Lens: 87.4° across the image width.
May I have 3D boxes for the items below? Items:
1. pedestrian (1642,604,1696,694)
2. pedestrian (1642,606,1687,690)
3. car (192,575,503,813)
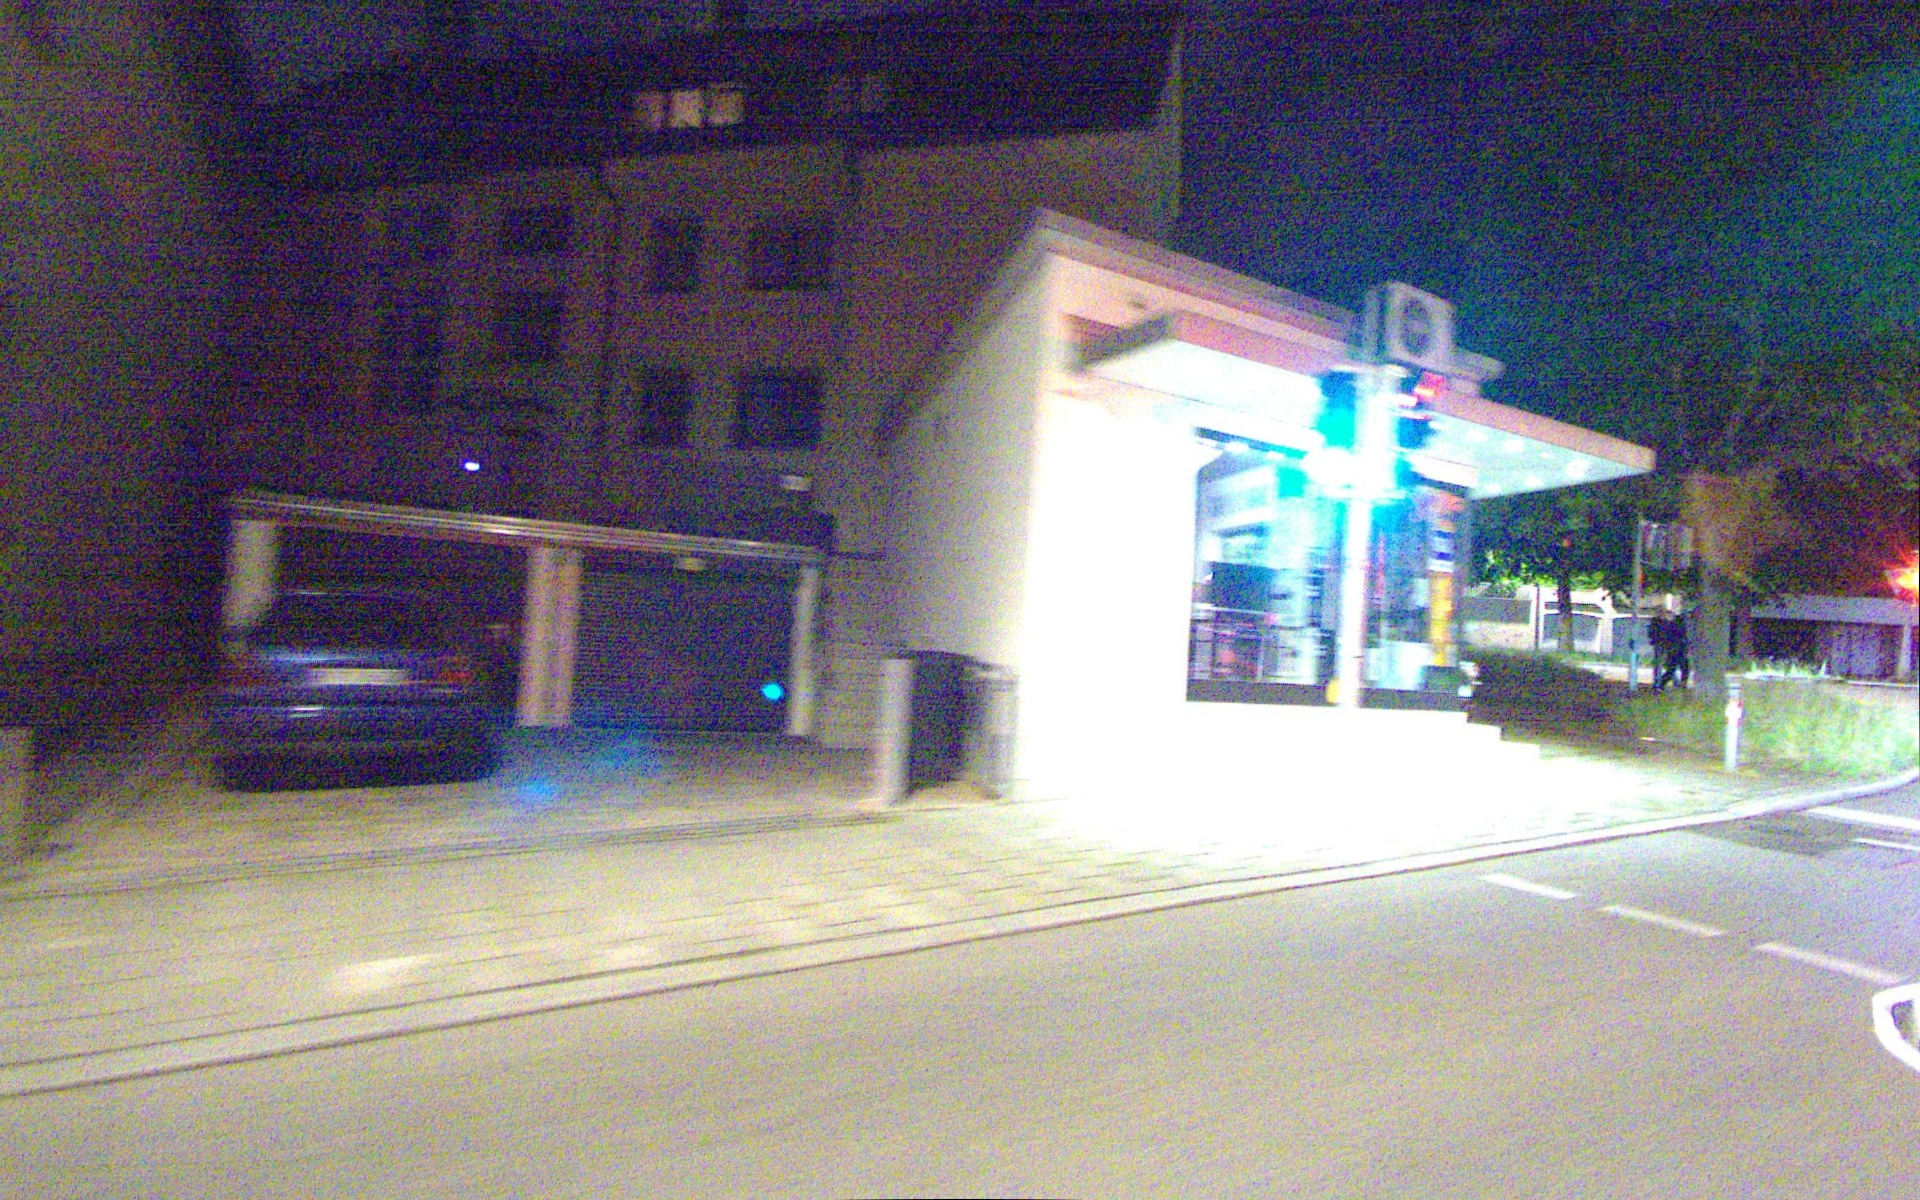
[{"bbox_3d":[14.695,1.009,20.818,0.729,1.801,0.567,2,1,-30],"label":"pedestrian"},{"bbox_3d":[15.151,1.024,21.602,0.537,1.754,0.567,2,0,-30],"label":"pedestrian"},{"bbox_3d":[-4.863,0.596,8.185,1.700,1.460,3.631,2,-1,-30],"label":"car"}]
